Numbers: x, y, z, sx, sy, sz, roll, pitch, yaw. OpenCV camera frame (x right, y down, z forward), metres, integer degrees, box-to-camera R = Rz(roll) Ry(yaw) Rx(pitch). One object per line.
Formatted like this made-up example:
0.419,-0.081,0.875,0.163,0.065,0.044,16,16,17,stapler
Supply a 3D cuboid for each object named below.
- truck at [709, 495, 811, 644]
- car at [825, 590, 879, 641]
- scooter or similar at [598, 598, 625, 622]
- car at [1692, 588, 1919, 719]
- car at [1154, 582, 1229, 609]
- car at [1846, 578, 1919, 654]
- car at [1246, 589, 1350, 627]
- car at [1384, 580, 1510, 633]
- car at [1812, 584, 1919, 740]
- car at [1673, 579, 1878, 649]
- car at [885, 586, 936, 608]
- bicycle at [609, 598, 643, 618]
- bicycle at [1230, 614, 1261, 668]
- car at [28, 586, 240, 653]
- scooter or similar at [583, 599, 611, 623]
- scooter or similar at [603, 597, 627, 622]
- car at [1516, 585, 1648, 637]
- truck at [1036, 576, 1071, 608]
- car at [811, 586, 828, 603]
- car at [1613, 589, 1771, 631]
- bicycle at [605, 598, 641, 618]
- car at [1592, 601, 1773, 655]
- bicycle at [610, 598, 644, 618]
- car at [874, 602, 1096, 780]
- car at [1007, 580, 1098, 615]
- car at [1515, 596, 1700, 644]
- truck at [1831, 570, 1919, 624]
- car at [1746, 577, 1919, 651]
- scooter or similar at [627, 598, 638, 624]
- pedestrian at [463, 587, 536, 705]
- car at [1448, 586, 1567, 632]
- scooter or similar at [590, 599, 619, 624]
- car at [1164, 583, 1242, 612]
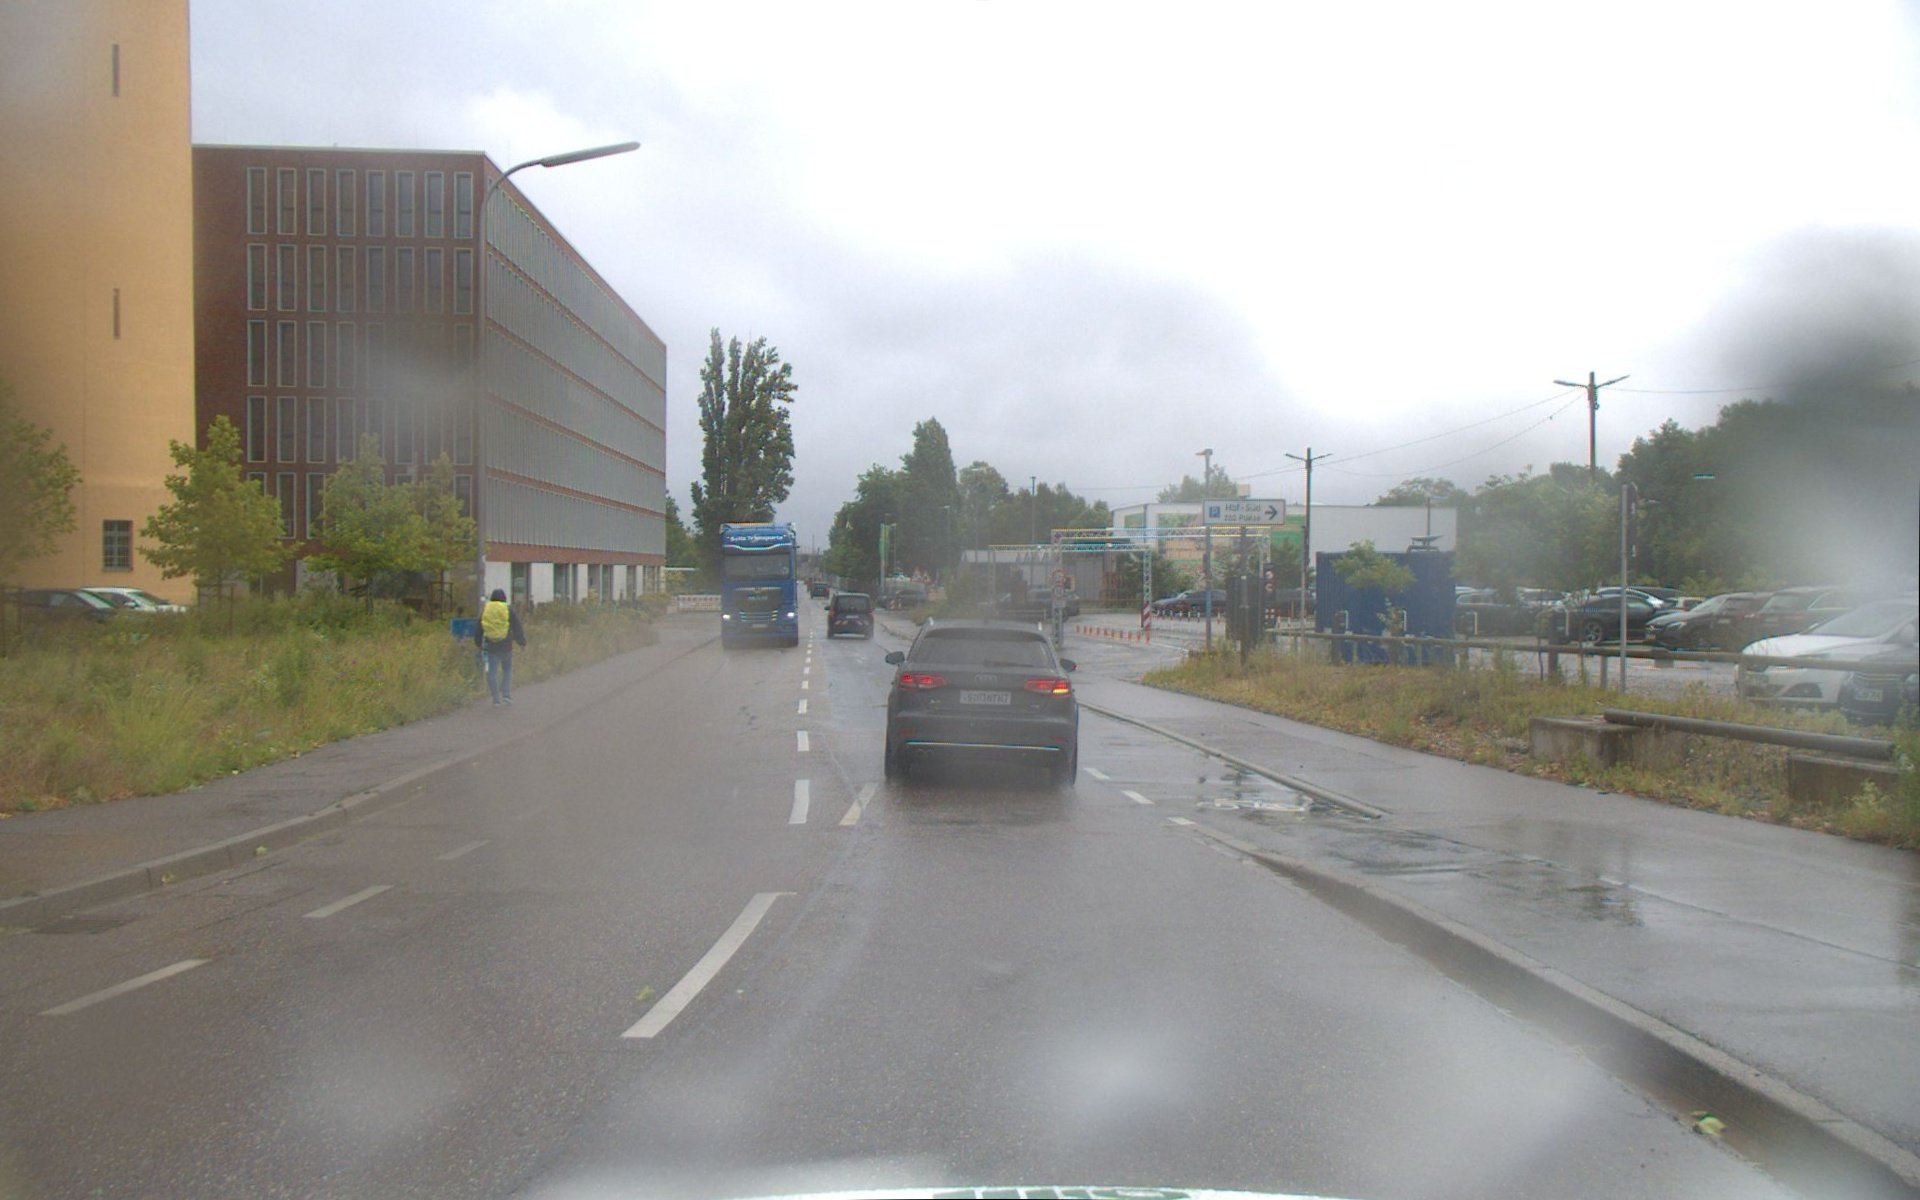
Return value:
-6.756,-0.997,55.867,3.231,4.735,6.024,0,0,-7,truck
-4.370,0.596,66.362,1.955,1.944,4.195,0,0,-7,car
-17.621,0.506,83.556,1.296,1.198,0.465,-1,0,-18,scooter or similar
10.738,0.620,19.154,3.700,1.418,1.902,1,-1,-8,car
13.227,-0.231,94.737,3.909,1.434,1.998,1,-1,-5,car
20.842,0.294,34.399,3.874,1.516,1.776,-1,-1,-4,car
16.314,0.396,79.891,4.537,1.746,2.013,1,-1,-12,car
16.523,0.229,56.233,3.699,1.611,1.785,-2,-1,-3,car
10.705,0.617,16.205,3.822,1.448,1.902,1,-1,-8,car
19.025,0.328,38.674,3.874,1.516,1.868,-1,-1,-4,car
-4.071,-0.233,135.103,4.054,1.596,1.764,2,-1,-3,car
-19.294,0.469,95.519,1.824,1.096,0.543,2,0,-7,bicycle
6.127,0.871,35.509,0.496,1.103,1.704,0,0,15,bicycle
-21.131,0.482,42.485,4.437,1.670,1.996,0,0,-9,car
-18.071,0.552,82.358,1.289,1.198,0.467,0,0,0,scooter or similar
-17.592,0.495,84.375,0.458,1.251,1.203,0,1,36,scooter or similar
22.294,0.401,59.350,3.984,1.688,1.829,-2,-1,-8,car
8.121,-0.766,144.645,2.255,2.706,7.413,-1,1,-2,truck
-14.925,-0.591,175.471,1.695,1.716,3.895,0,0,-3,car
22.023,0.314,49.817,3.984,1.090,1.829,-2,-1,-8,car
-19.137,0.462,94.006,1.911,1.096,0.619,2,0,-7,bicycle
18.144,0.699,41.636,3.809,1.242,1.647,-1,-1,-1,car
-19.412,0.452,96.400,1.824,1.096,0.543,2,0,-7,bicycle
0.231,0.794,16.197,1.856,1.482,4.227,1,-1,0,car
4.798,-0.107,86.566,4.586,1.765,2.127,-1,-1,-2,car
18.331,0.569,46.919,4.500,1.242,1.975,-1,-1,-7,car
43.140,-0.179,77.072,2.032,2.444,5.078,0,1,-6,truck
19.707,0.306,36.457,3.874,1.516,1.868,-1,-1,-4,car
-16.105,0.531,81.359,0.457,1.251,1.318,0,1,-8,scooter or similar
-6.973,0.676,25.074,0.891,1.748,1.025,0,0,-6,pedestrian
21.538,0.355,65.106,3.981,1.633,1.925,-2,-1,-5,car
-17.589,0.565,81.861,1.289,1.198,0.467,0,0,0,scooter or similar
13.480,-0.124,91.761,3.909,1.511,1.998,1,-1,-5,car
